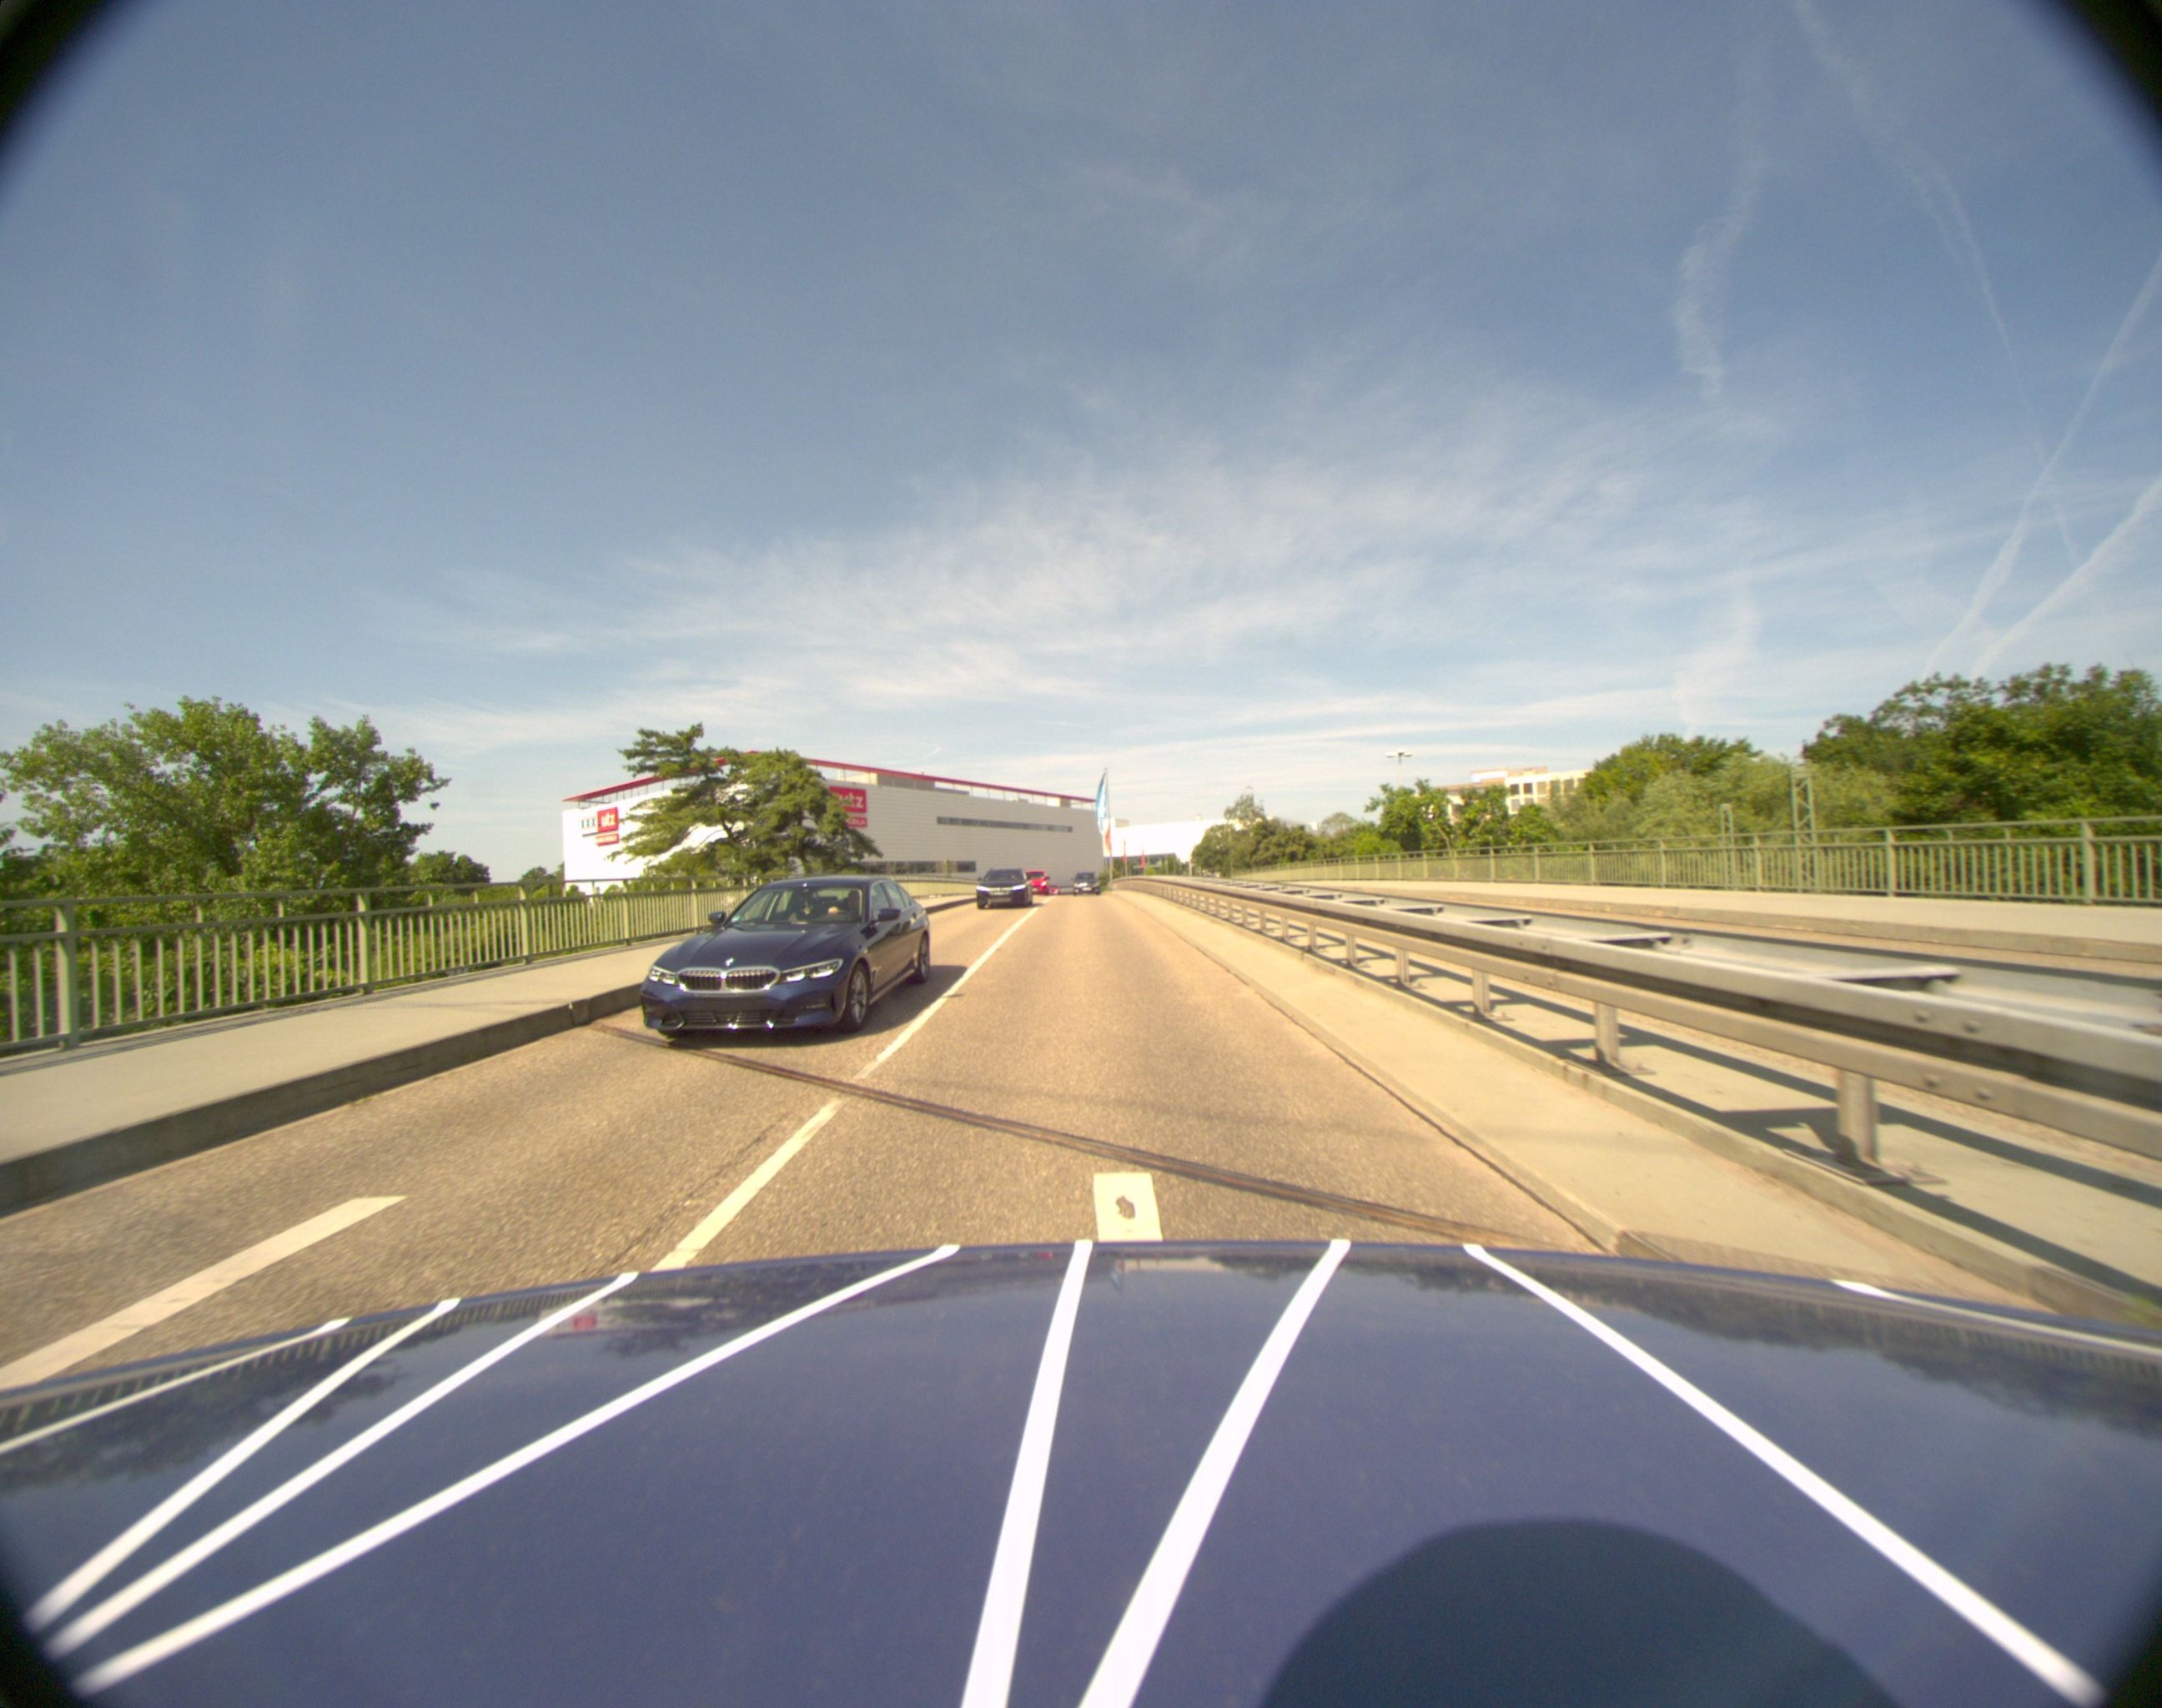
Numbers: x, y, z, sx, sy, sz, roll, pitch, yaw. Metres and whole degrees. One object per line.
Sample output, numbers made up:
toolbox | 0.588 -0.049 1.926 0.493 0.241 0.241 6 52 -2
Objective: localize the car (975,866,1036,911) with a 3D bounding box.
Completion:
car | -2.827 1.279 29.295 1.861 1.520 4.144 -2 -1 0

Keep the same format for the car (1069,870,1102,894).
car | 0.327 1.739 47.304 1.849 1.409 4.002 0 -1 3

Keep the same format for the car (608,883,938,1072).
car | -2.935 1.085 8.434 1.792 1.474 4.521 -2 -2 0

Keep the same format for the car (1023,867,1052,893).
car | -3.246 2.017 57.439 1.988 1.895 4.146 -1 -3 0

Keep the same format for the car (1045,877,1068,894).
car | -2.489 3.279 78.698 1.776 1.647 4.148 0 -3 6
